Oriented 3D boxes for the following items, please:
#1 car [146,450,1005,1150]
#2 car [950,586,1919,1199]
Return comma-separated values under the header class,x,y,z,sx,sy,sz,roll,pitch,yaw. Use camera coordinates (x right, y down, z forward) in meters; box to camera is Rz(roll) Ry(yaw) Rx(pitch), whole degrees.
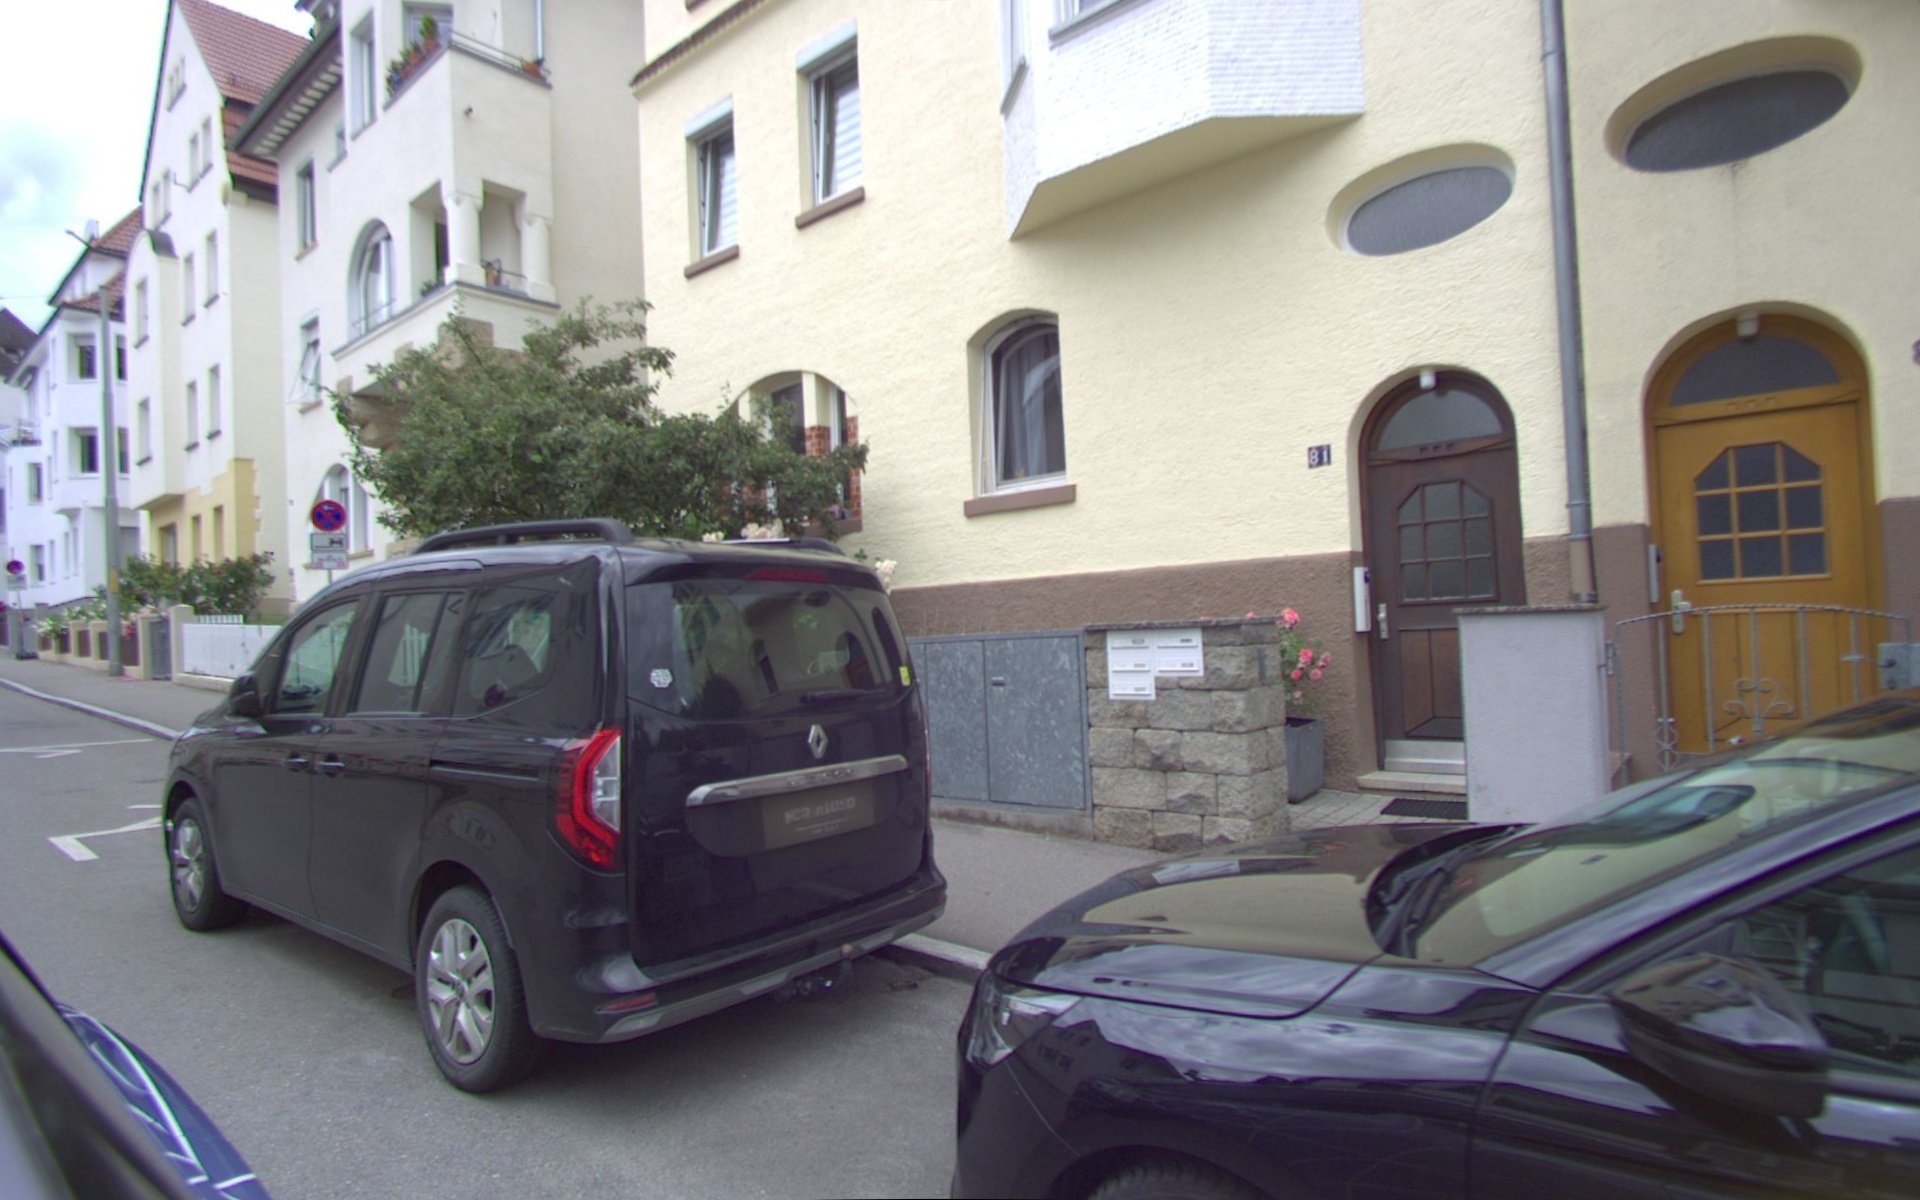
class,x,y,z,sx,sy,sz,roll,pitch,yaw
car,-1.983,0.558,4.591,4.143,1.810,1.732,-1,-2,38
car,1.915,0.710,1.334,3.700,1.409,1.622,-1,-3,40
